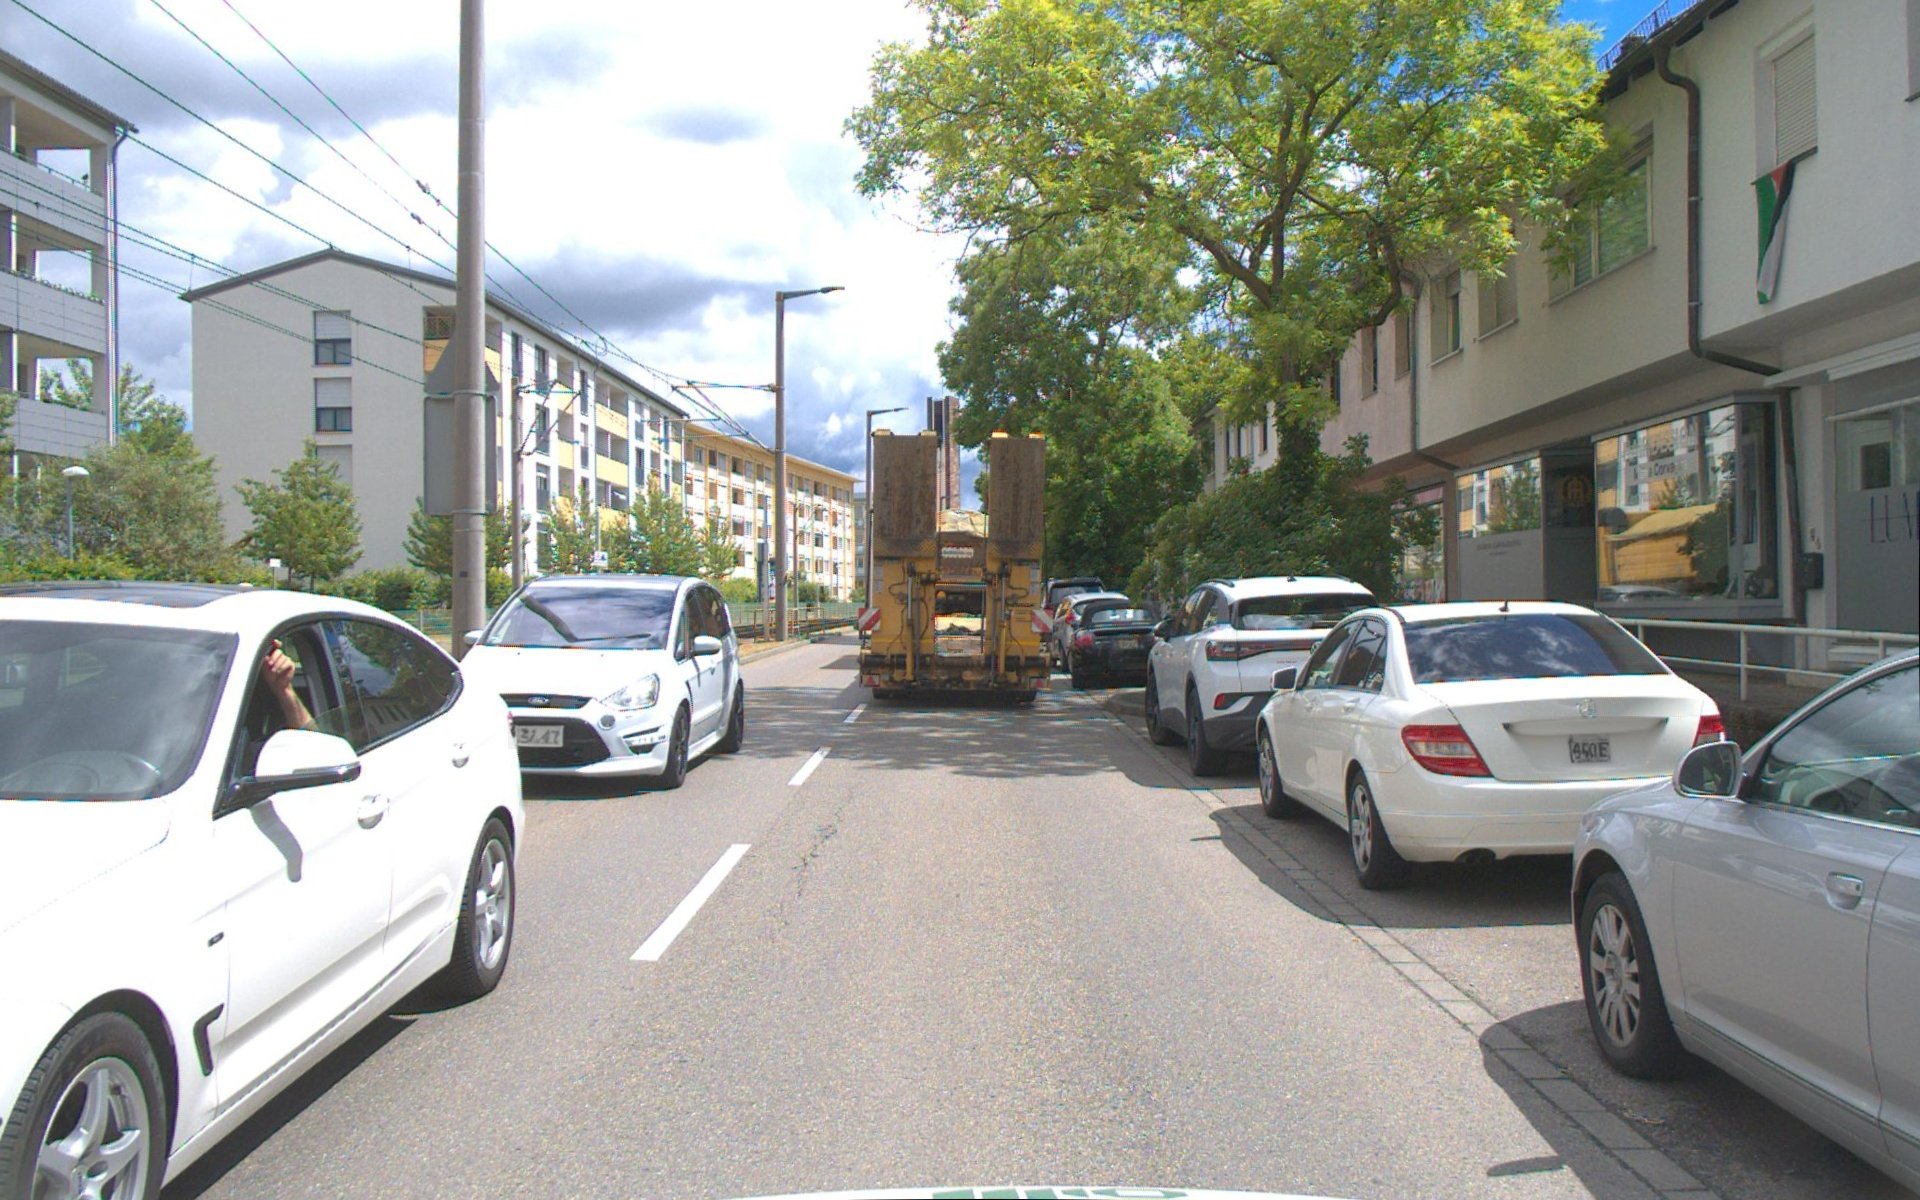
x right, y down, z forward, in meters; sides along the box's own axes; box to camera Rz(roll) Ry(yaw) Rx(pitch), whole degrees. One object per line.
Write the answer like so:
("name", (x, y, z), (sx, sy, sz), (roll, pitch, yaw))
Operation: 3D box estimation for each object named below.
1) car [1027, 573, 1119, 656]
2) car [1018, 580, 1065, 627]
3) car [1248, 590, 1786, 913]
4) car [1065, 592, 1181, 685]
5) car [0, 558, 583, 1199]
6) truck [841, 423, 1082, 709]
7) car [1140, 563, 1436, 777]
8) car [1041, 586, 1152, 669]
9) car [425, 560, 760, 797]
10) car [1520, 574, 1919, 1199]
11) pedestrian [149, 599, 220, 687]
("car", (2.627, 0.328, 39.569), (1.973, 1.820, 5.077), (-1, 0, 2))
("car", (3.597, 0.147, 73.908), (1.875, 1.993, 5.745), (-1, 0, 1))
("car", (2.905, 0.678, 9.699), (1.689, 1.451, 4.446), (0, 0, 0))
("car", (2.684, 0.596, 27.866), (1.734, 1.373, 4.002), (-3, 0, 4))
("car", (-2.510, 0.676, 4.794), (1.780, 1.529, 4.836), (1, 0, -1))
("truck", (-0.070, -0.455, 27.287), (3.060, 3.627, 12.457), (0, 0, -1))
("car", (2.805, 0.538, 15.136), (1.800, 1.672, 4.429), (0, 0, -1))
("car", (2.676, 0.524, 33.250), (1.736, 1.467, 3.898), (-3, 0, -2))
("car", (-2.868, 0.547, 13.953), (1.780, 1.642, 4.601), (1, 0, 0))
("car", (2.917, 0.701, 3.748), (1.776, 1.525, 4.912), (0, 0, 2))
("pedestrian", (-13.624, 0.742, 29.079), (0.780, 1.509, 0.995), (0, 0, -1))
